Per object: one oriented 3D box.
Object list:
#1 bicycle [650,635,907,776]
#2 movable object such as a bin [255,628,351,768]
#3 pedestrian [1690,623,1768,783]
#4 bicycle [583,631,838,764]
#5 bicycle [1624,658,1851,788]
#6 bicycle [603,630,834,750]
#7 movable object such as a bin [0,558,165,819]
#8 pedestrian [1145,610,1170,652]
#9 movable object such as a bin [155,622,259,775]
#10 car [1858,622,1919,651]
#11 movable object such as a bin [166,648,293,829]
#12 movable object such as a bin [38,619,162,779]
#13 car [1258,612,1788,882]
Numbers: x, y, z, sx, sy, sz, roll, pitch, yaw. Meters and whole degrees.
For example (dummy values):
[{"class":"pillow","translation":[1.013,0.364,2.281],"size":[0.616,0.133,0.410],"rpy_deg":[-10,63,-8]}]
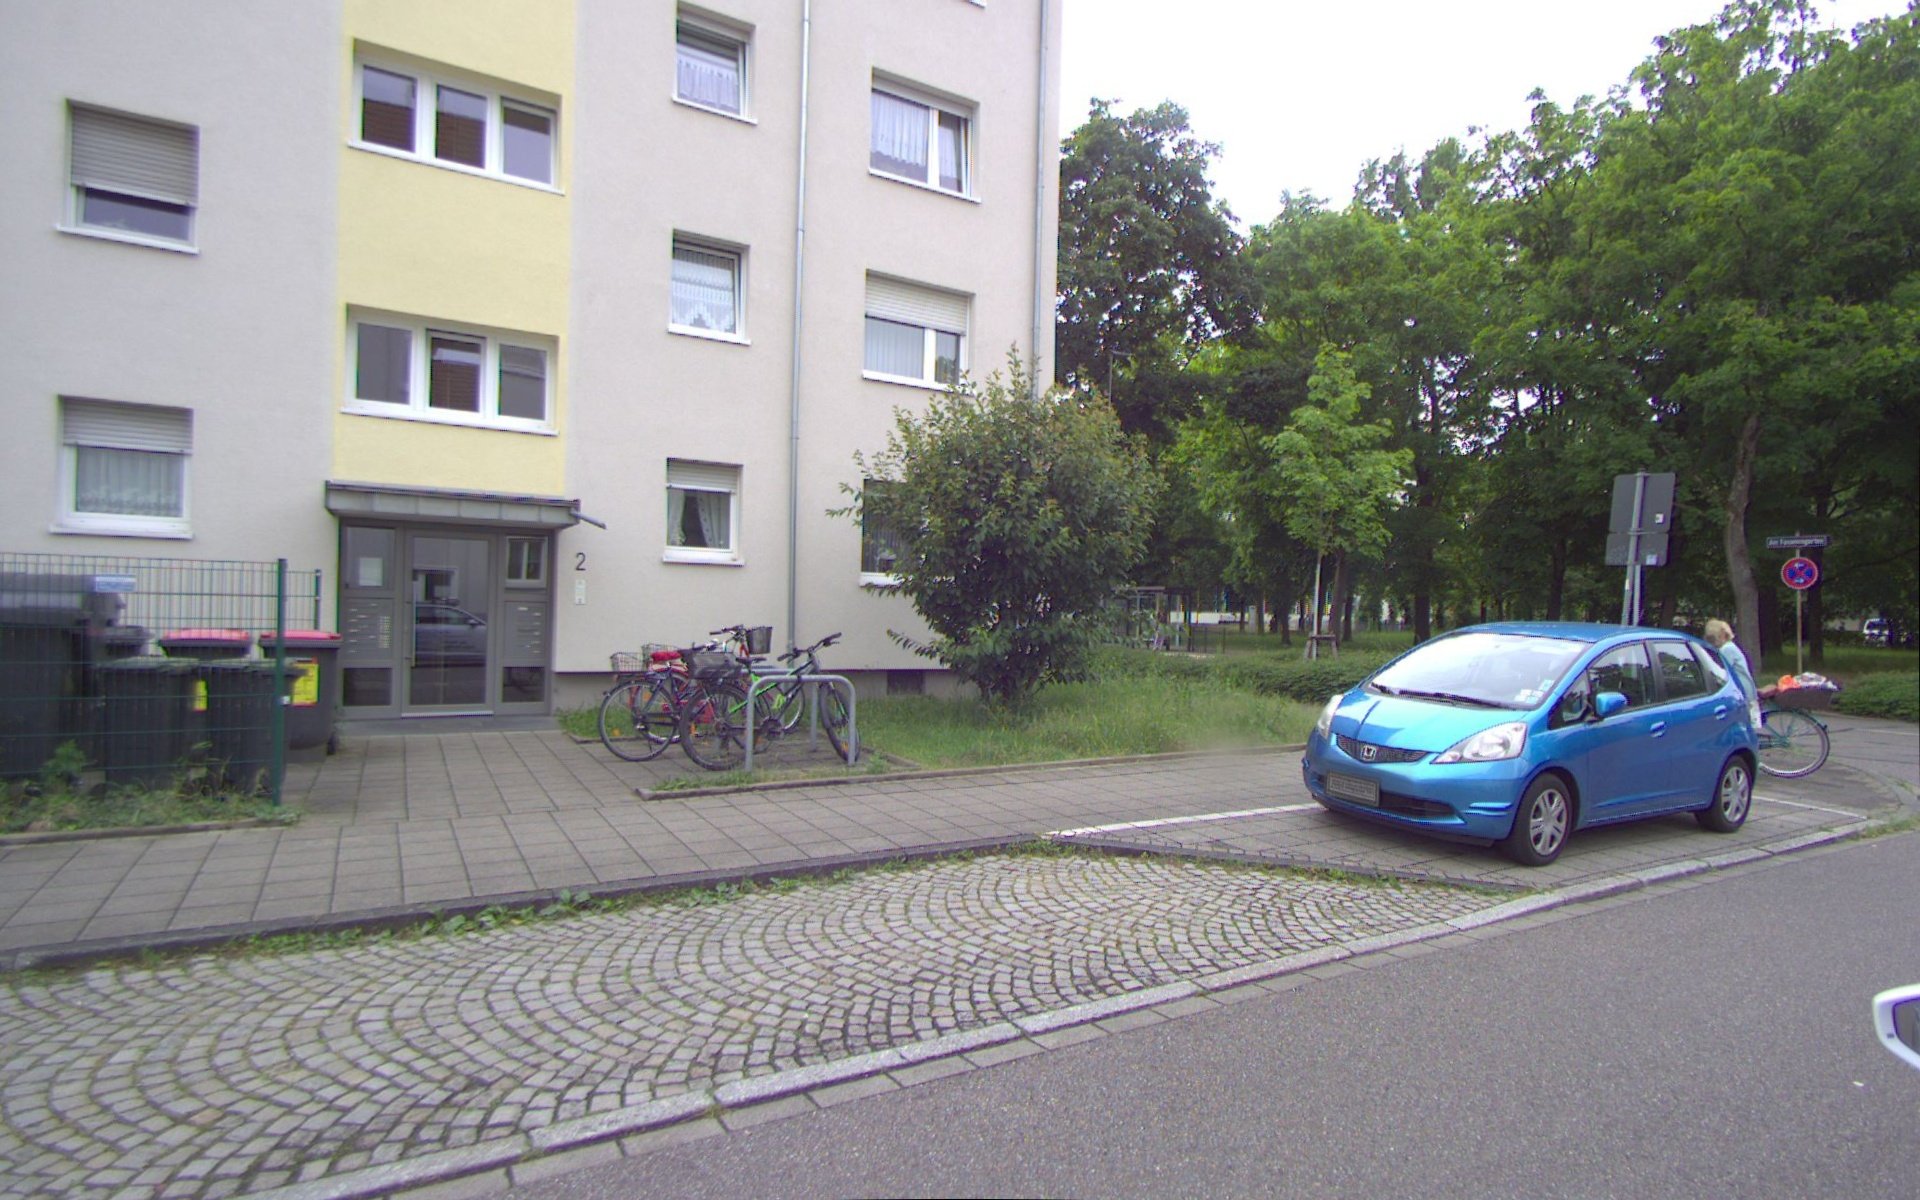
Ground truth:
[{"class":"bicycle","translation":[-1.540,0.856,8.695],"size":[2.097,1.082,0.654],"rpy_deg":[1,0,-30]},{"class":"movable object such as a bin","translation":[-5.458,0.781,8.379],"size":[0.627,1.065,0.859],"rpy_deg":[1,0,-32]},{"class":"pedestrian","translation":[7.881,1.029,10.312],"size":[0.557,1.570,0.447],"rpy_deg":[1,0,28]},{"class":"bicycle","translation":[-2.243,0.839,9.160],"size":[2.149,1.085,0.654],"rpy_deg":[1,0,-30]},{"class":"bicycle","translation":[8.089,1.249,10.556],"size":[1.786,1.134,0.537],"rpy_deg":[3,1,30]},{"class":"bicycle","translation":[-2.382,0.847,10.026],"size":[2.149,1.085,0.654],"rpy_deg":[1,0,-30]},{"class":"movable object such as a bin","translation":[-5.972,0.476,6.035],"size":[1.652,1.440,1.581],"rpy_deg":[1,0,-31]},{"class":"pedestrian","translation":[7.641,1.193,38.861],"size":[0.648,1.604,0.693],"rpy_deg":[0,0,-28]},{"class":"movable object such as a bin","translation":[-6.035,0.754,8.085],"size":[0.591,1.131,0.837],"rpy_deg":[1,0,-33]},{"class":"car","translation":[56.459,2.223,61.054],"size":[3.959,1.639,1.906],"rpy_deg":[2,-1,-34]},{"class":"movable object such as a bin","translation":[-4.580,0.839,6.329],"size":[0.591,1.047,0.534],"rpy_deg":[1,0,-32]},{"class":"movable object such as a bin","translation":[-6.585,0.725,7.726],"size":[0.591,1.131,0.837],"rpy_deg":[1,0,-33]},{"class":"car","translation":[4.307,0.907,7.570],"size":[3.911,1.482,1.721],"rpy_deg":[1,2,-31]}]
